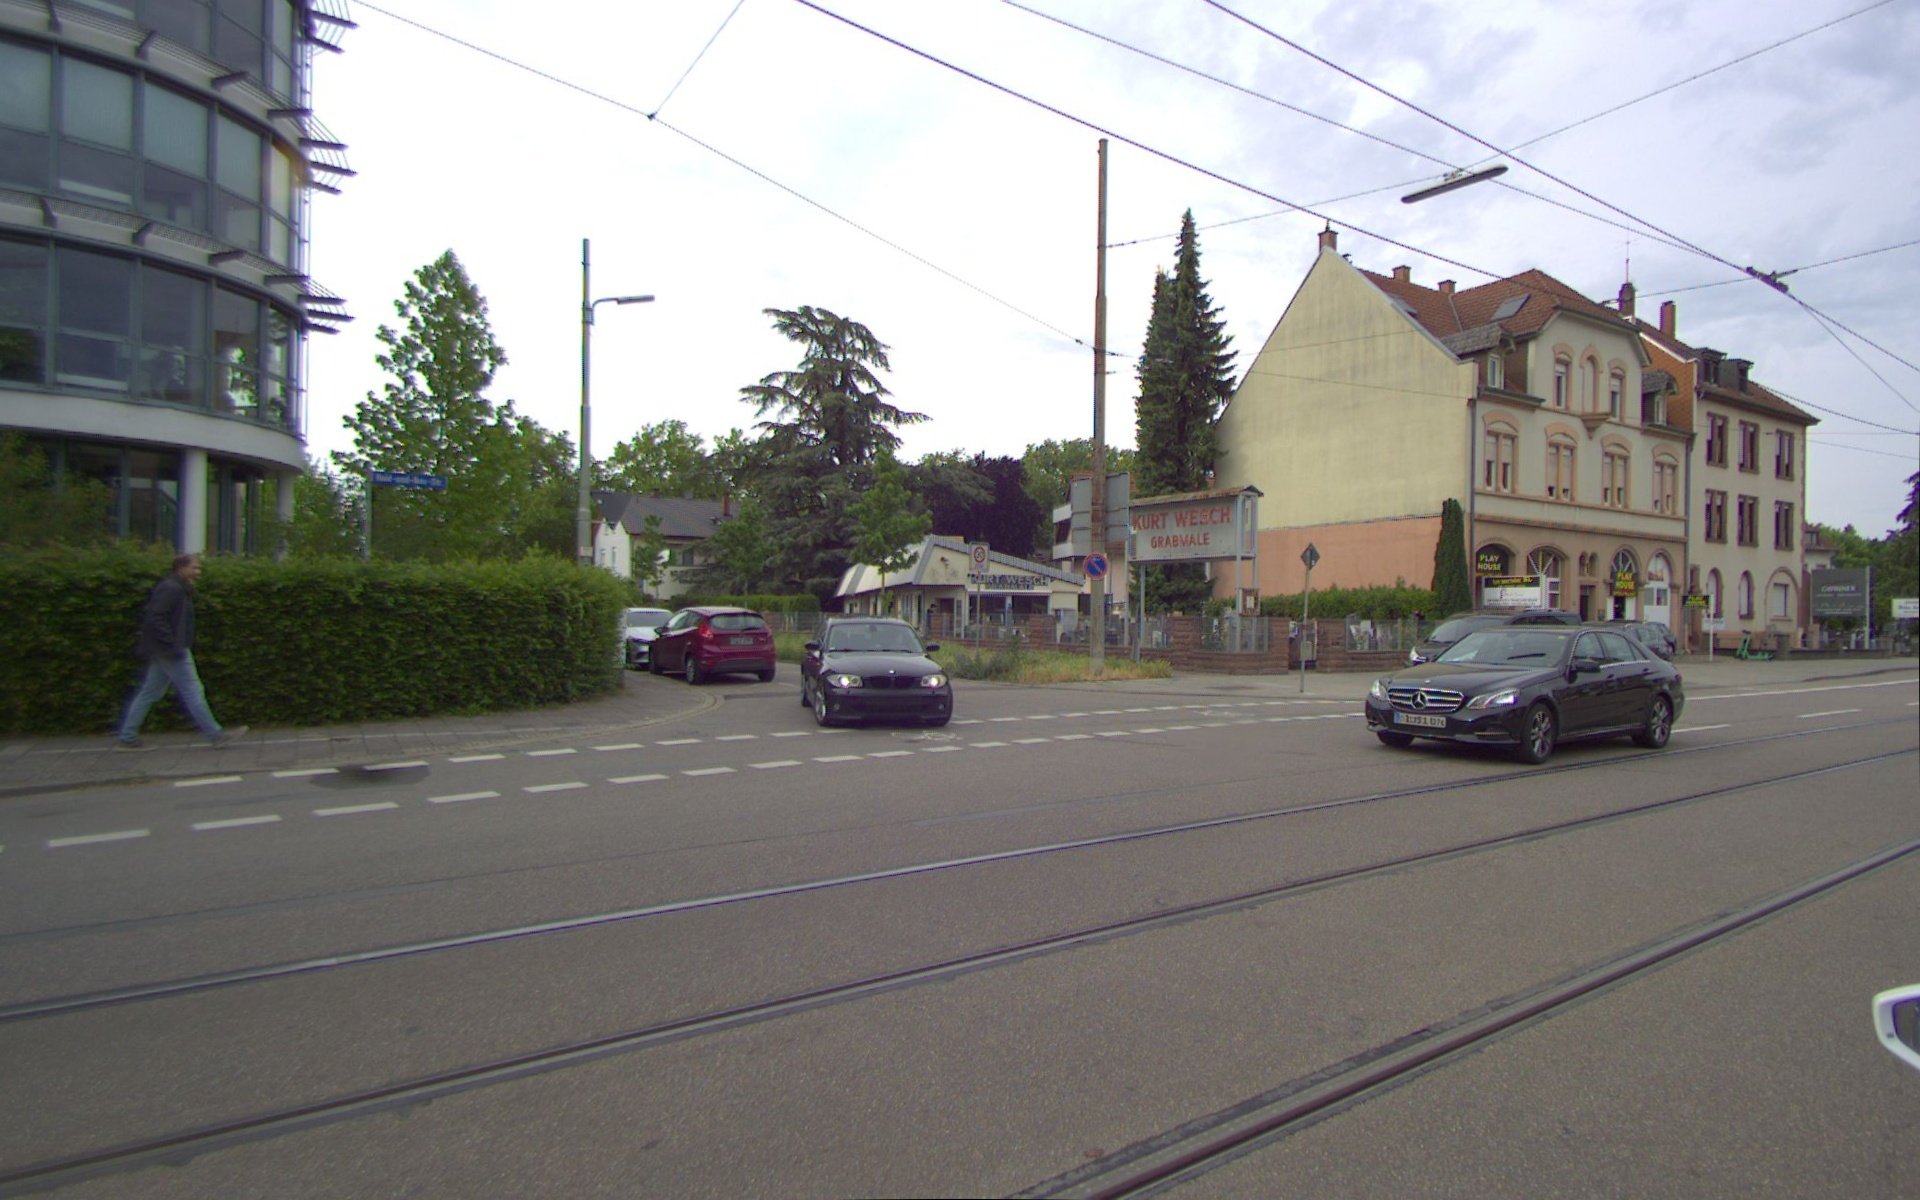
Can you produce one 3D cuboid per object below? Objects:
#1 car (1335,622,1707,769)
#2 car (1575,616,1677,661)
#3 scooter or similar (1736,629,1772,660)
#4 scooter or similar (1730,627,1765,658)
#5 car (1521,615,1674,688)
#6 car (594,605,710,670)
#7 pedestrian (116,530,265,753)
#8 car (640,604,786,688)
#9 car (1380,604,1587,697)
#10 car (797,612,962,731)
[{"bbox_3d":[6.885,1.016,12.155,4.834,1.446,1.935,1,-1,-33],"label":"car"},{"bbox_3d":[24.314,1.418,36.637,3.706,1.520,1.743,2,0,-33],"label":"car"},{"bbox_3d":[32.097,1.790,40.607,1.032,1.204,0.318,2,0,25],"label":"scooter or similar"},{"bbox_3d":[32.294,1.754,41.207,1.032,1.204,0.318,2,0,25],"label":"scooter or similar"},{"bbox_3d":[17.019,1.359,26.775,4.148,1.740,1.834,2,0,-33],"label":"car"},{"bbox_3d":[-7.540,0.877,24.363,1.811,1.439,3.968,2,-2,-30],"label":"car"},{"bbox_3d":[-7.396,0.389,9.704,0.978,2.040,0.707,2,0,-28],"label":"pedestrian"},{"bbox_3d":[-5.070,0.848,20.321,1.749,1.437,3.687,-1,2,-33],"label":"car"},{"bbox_3d":[12.170,1.135,23.267,4.942,1.912,1.981,2,0,-32],"label":"car"},{"bbox_3d":[-1.279,0.896,14.190,1.771,1.406,3.923,1,-1,-13],"label":"car"}]
